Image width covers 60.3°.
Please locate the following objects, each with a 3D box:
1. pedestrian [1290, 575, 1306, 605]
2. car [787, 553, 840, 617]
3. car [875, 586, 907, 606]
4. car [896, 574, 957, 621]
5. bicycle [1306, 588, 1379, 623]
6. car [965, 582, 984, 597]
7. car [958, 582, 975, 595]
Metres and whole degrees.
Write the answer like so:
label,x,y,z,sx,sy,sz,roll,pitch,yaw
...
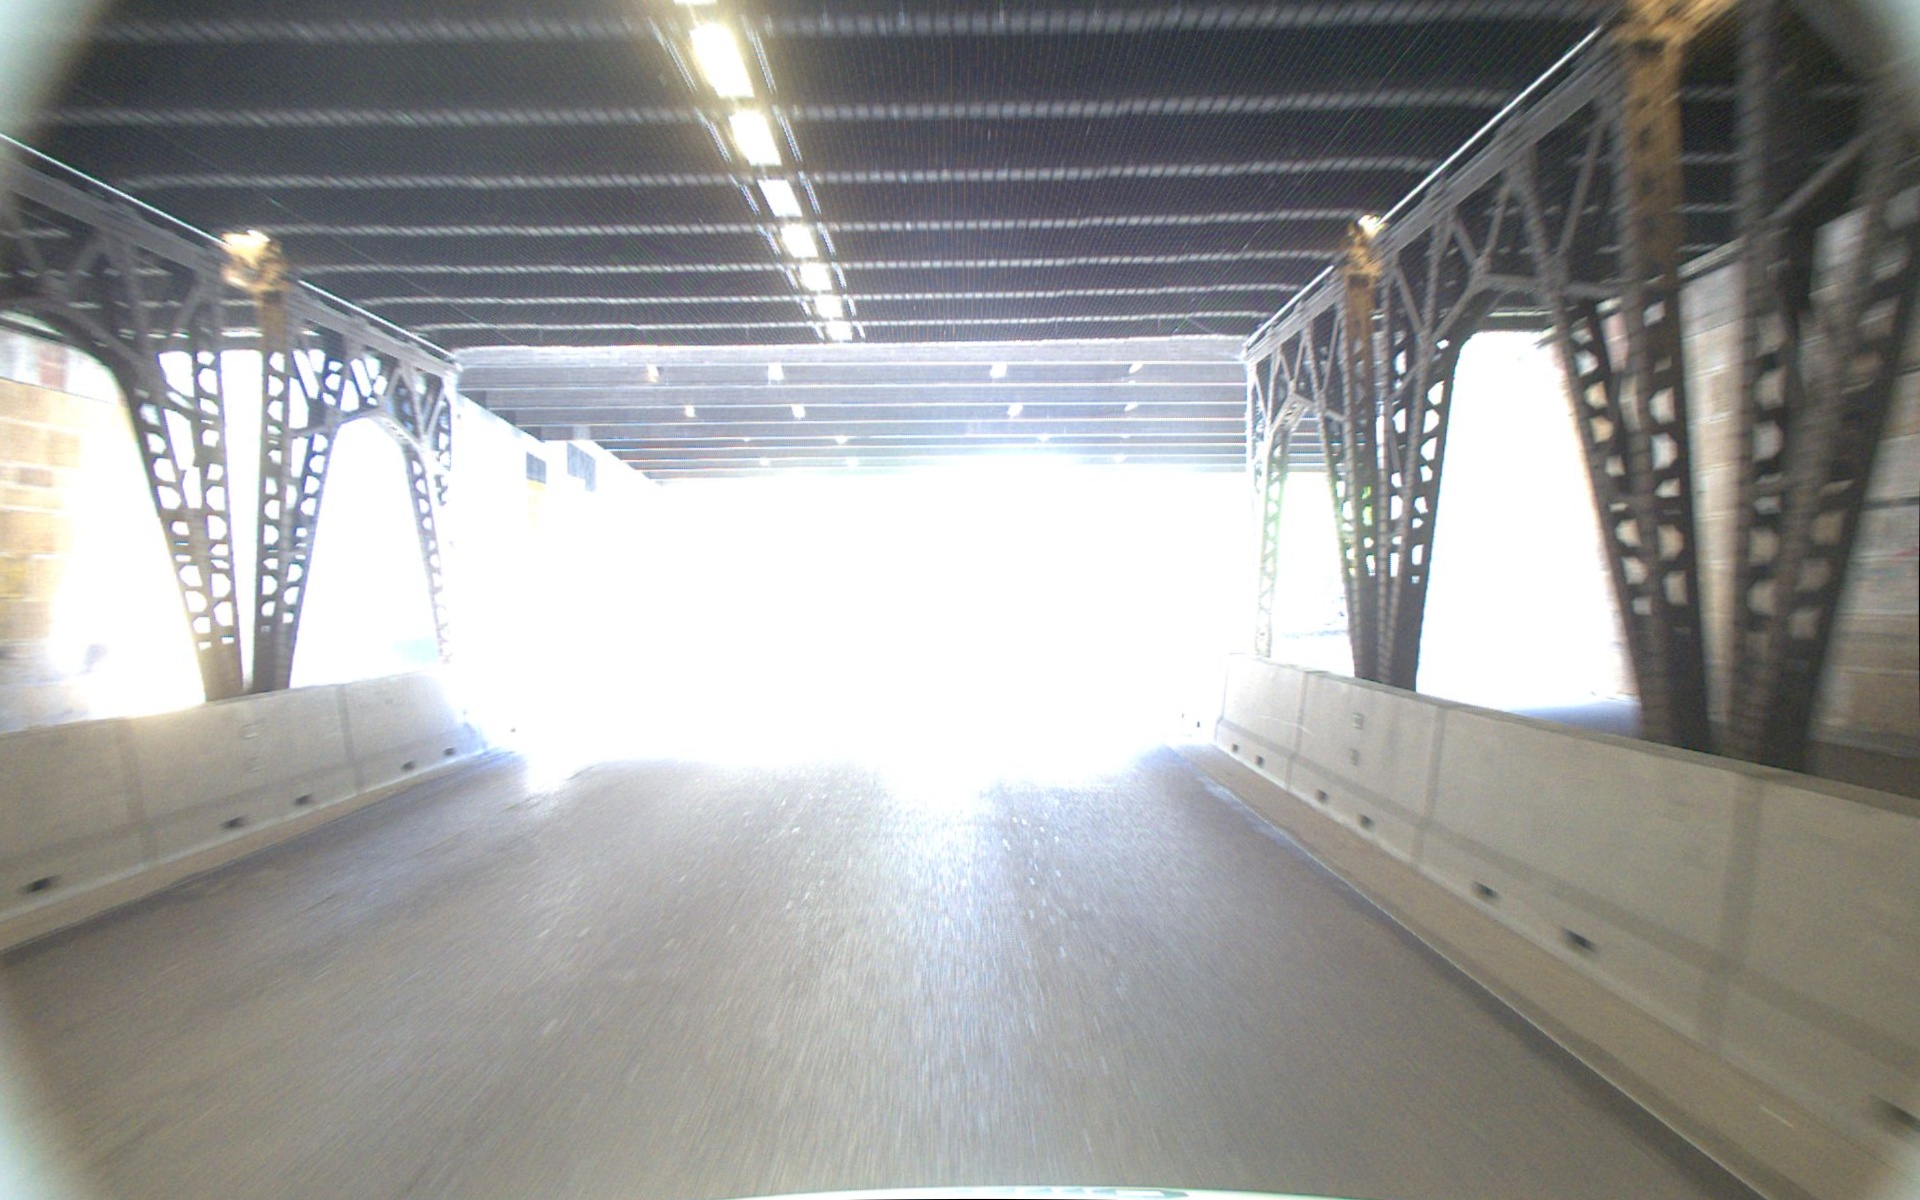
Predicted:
label,x,y,z,sx,sy,sz,roll,pitch,yaw
pedestrian,19.401,-0.587,94.900,0.686,1.704,0.613,0,0,-21
car,-6.267,-0.646,71.451,1.928,2.652,5.928,1,1,-2
car,-4.561,-0.270,109.466,1.674,1.267,4.414,0,1,4
car,-1.235,-0.105,63.241,1.787,1.682,4.217,-2,1,6
bicycle,10.730,0.150,46.432,1.906,0.920,0.506,-2,0,-2
car,1.321,-1.007,155.443,1.675,1.378,3.999,0,1,-1
car,0.619,-1.204,170.355,1.675,1.378,3.999,0,1,-1
